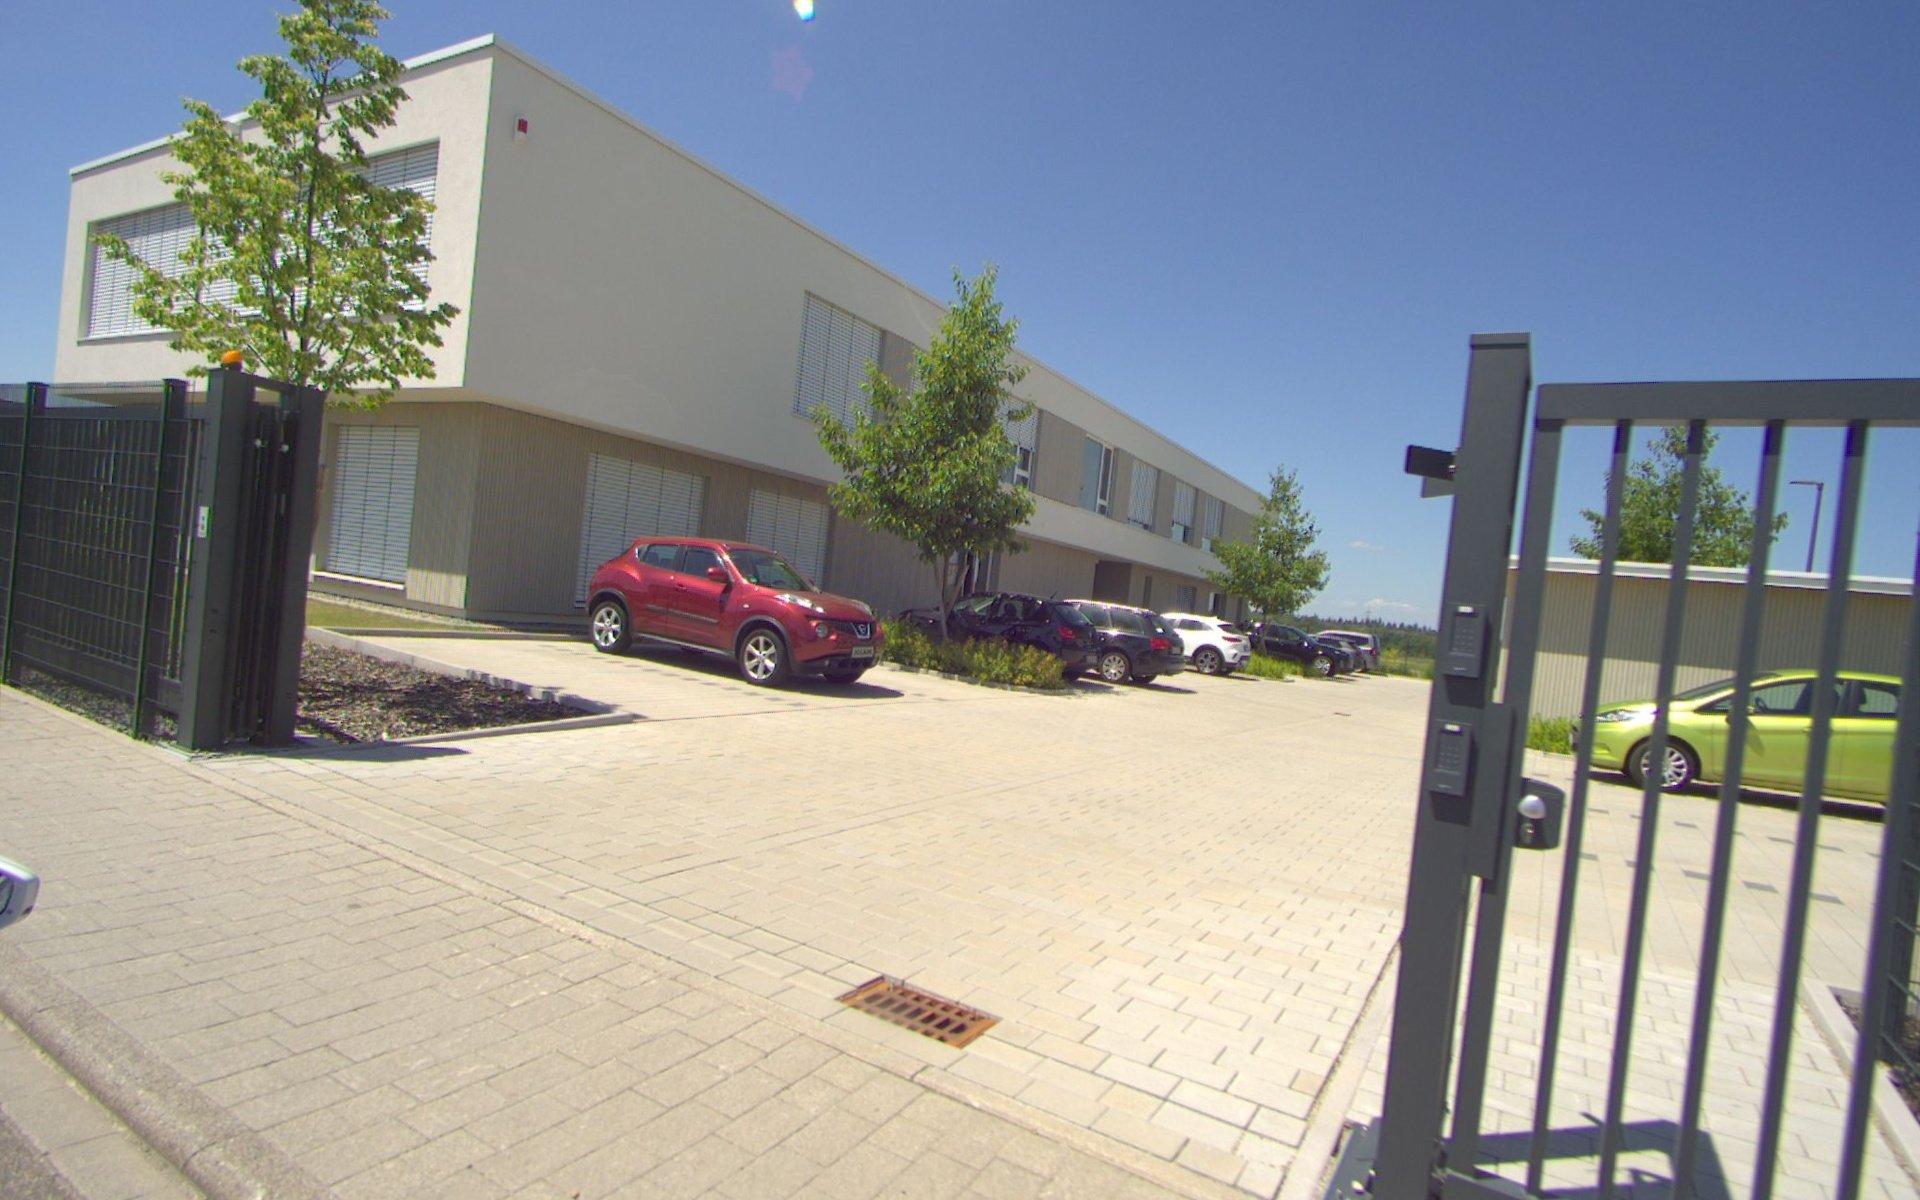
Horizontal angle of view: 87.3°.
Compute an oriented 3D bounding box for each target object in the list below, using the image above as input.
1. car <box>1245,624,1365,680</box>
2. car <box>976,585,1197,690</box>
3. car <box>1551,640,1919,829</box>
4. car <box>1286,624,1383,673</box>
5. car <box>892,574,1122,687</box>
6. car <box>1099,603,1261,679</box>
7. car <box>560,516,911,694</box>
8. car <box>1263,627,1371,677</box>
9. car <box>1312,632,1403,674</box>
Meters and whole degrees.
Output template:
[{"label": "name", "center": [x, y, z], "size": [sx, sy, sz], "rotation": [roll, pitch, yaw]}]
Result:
[{"label": "car", "center": [12.855, 1.933, 37.574], "size": [3.871, 1.450, 1.671], "rotation": [8, 1, 29]}, {"label": "car", "center": [2.474, 0.716, 19.934], "size": [3.871, 1.450, 1.671], "rotation": [8, 1, 29]}, {"label": "car", "center": [8.627, 1.398, 10.936], "size": [3.538, 1.482, 1.613], "rotation": [7, 0, 27]}, {"label": "car", "center": [17.403, 2.242, 46.750], "size": [3.871, 1.687, 1.671], "rotation": [8, 1, 29]}, {"label": "car", "center": [0.827, 0.522, 18.072], "size": [3.614, 1.450, 1.671], "rotation": [8, 1, 29]}, {"label": "car", "center": [5.997, 1.108, 27.496], "size": [3.871, 1.450, 1.671], "rotation": [8, 1, 29]}, {"label": "car", "center": [-2.834, 0.024, 12.498], "size": [4.007, 1.577, 1.671], "rotation": [8, 1, 28]}, {"label": "car", "center": [14.871, 2.154, 41.908], "size": [3.871, 1.450, 1.671], "rotation": [8, 1, 29]}, {"label": "car", "center": [19.756, 2.623, 50.017], "size": [3.871, 1.450, 1.671], "rotation": [8, 1, 29]}]
